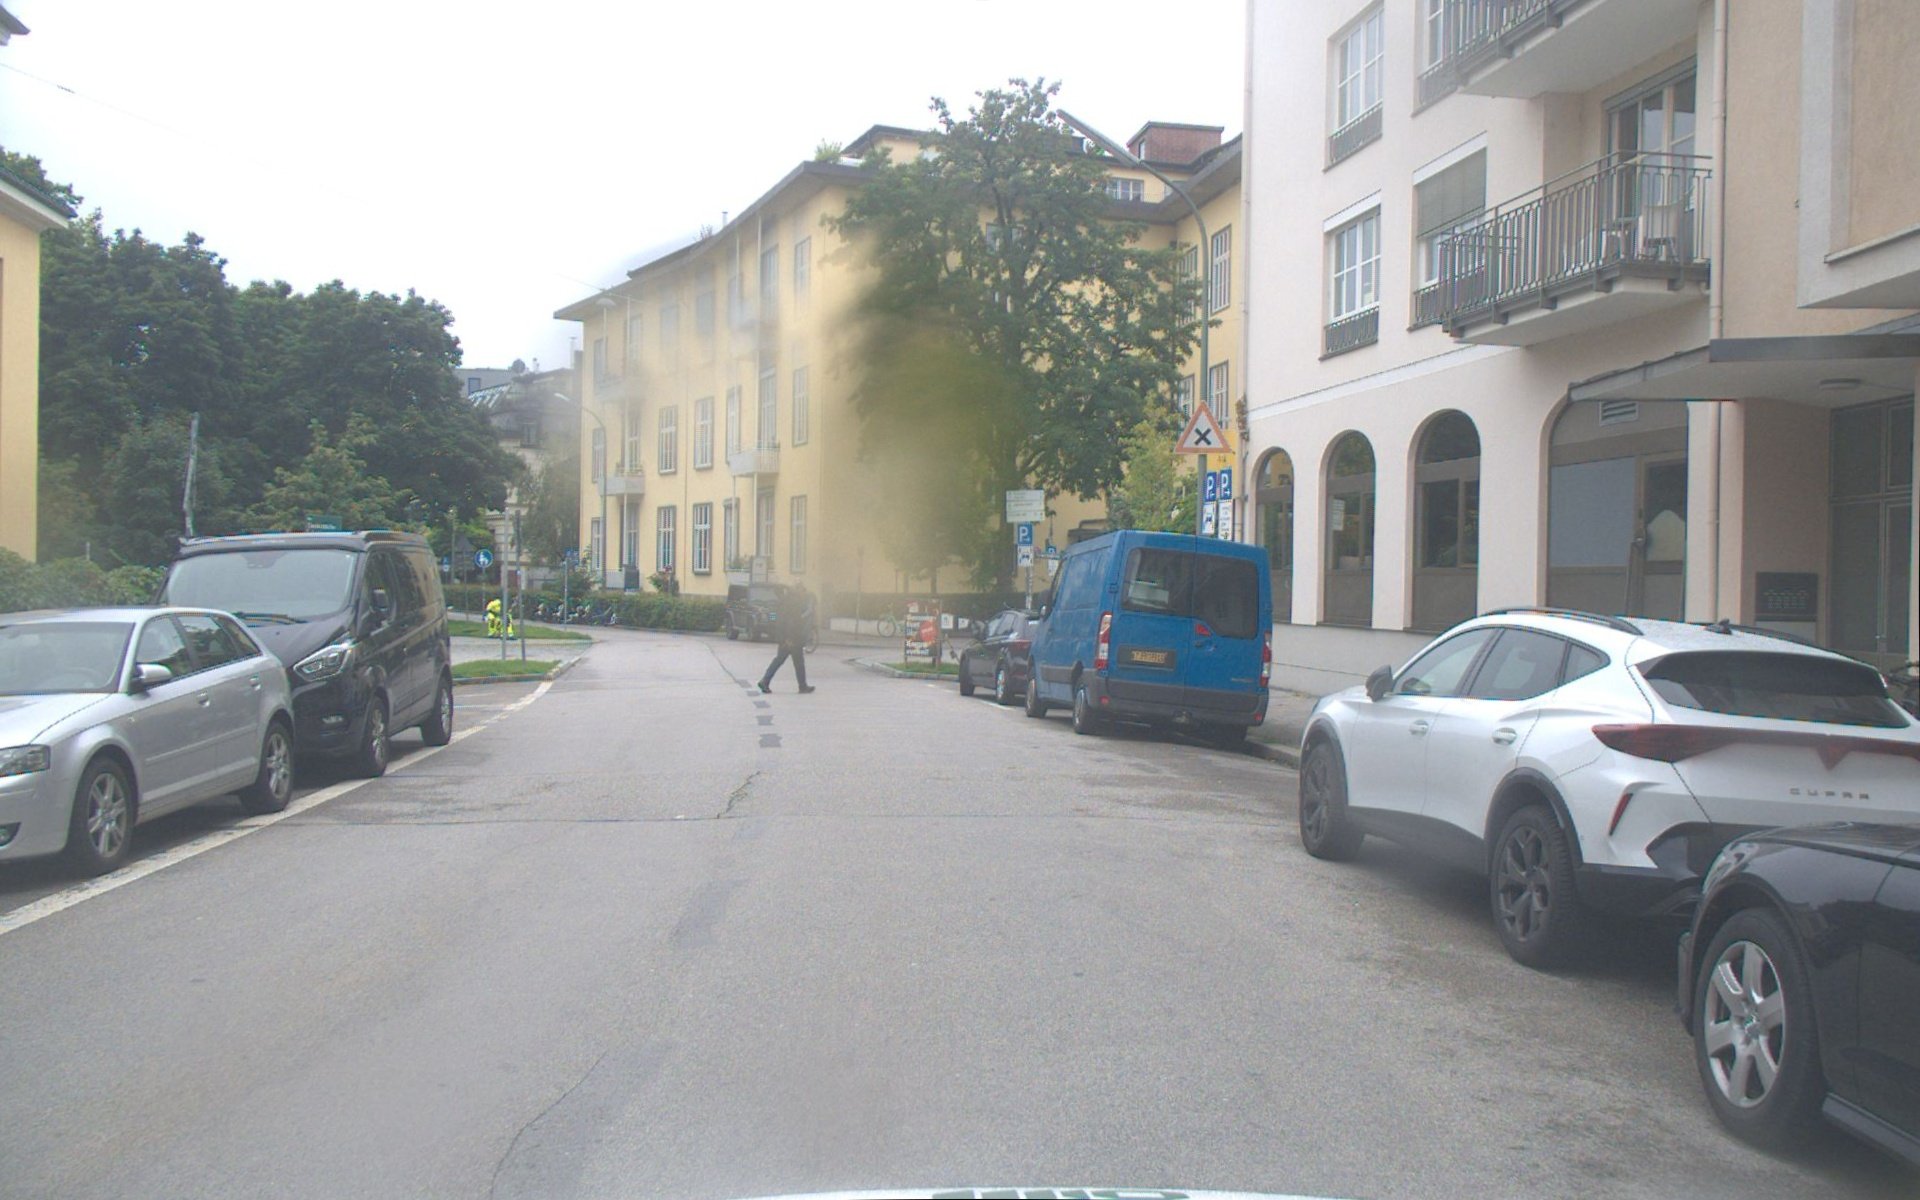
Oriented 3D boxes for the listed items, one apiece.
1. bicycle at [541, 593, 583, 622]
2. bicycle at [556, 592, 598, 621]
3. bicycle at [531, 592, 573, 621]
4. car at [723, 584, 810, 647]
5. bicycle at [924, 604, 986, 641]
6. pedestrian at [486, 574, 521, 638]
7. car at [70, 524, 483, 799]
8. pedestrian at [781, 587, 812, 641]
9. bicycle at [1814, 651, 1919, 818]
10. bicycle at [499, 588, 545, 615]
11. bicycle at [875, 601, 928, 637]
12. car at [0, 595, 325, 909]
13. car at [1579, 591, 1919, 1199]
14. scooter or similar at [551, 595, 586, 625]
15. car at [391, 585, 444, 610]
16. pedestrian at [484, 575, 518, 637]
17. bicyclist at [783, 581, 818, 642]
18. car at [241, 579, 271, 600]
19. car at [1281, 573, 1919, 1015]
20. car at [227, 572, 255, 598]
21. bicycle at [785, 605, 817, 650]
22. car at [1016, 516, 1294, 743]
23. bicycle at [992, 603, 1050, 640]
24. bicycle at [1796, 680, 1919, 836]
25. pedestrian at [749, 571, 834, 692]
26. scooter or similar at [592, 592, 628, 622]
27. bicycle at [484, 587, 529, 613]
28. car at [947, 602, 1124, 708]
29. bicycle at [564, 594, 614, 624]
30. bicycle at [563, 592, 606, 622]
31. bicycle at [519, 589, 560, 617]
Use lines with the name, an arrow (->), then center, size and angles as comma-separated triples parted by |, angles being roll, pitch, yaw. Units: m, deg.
bicycle -> -18.585, 0.329, 77.366 | 0.717, 1.328, 2.154 | 1, 0, 25
bicycle -> -17.732, 0.283, 76.555 | 0.717, 1.328, 2.154 | 1, 0, 25
bicycle -> -19.227, 0.287, 77.952 | 0.717, 1.328, 2.154 | 1, 0, 25
car -> -6.675, 0.488, 56.688 | 1.739, 1.907, 4.348 | 5, -1, -23
bicycle -> -0.177, 0.763, 56.633 | 2.023, 1.222, 0.596 | 1, 0, 12
pedestrian -> -14.845, 0.189, 53.835 | 0.913, 2.049, 0.955 | 1, 0, -6
car -> -5.869, 0.447, 15.050 | 2.033, 1.998, 5.342 | -1, 0, -7
pedestrian -> -5.630, 0.477, 56.926 | 0.862, 1.855, 0.793 | 1, 0, -22
bicycle -> 7.004, 0.982, 12.080 | 0.446, 1.130, 1.853 | 1, 0, -4
bicycle -> -22.028, 0.082, 83.261 | 2.124, 1.328, 0.728 | 1, 0, -28
bicycle -> -2.057, 0.659, 57.768 | 1.889, 1.222, 0.593 | 1, 0, 36
car -> -5.356, 0.744, 9.629 | 1.661, 1.417, 4.499 | -4, 1, -2
car -> 3.248, 0.836, 3.384 | 1.842, 1.548, 5.162 | 4, 0, -1
scooter or similar -> -18.202, 0.458, 76.857 | 0.717, 1.328, 1.730 | 1, 0, 22
car -> -31.819, -0.138, 96.970 | 1.977, 1.396, 3.951 | 1, 0, -35
pedestrian -> -15.328, 0.201, 55.233 | 0.913, 2.049, 0.955 | 1, 0, -6
bicyclist -> -4.357, 0.315, 45.156 | 0.847, 1.636, 0.944 | 1, -1, -11
car -> -57.409, -0.845, 134.893 | 1.970, 1.634, 3.965 | 1, 0, -27
car -> 3.230, 0.717, 8.383 | 1.751, 1.560, 4.642 | 4, 0, -7
car -> -62.081, -1.285, 142.715 | 1.970, 2.197, 3.965 | 1, 0, -27
bicycle -> -4.339, 0.740, 45.041 | 0.658, 1.179, 1.998 | 1, 0, -11
car -> 2.201, 0.353, 20.372 | 2.040, 2.272, 5.236 | 5, -1, -7
bicycle -> 2.080, 0.751, 56.669 | 1.885, 1.222, 0.594 | 1, 0, -6
bicycle -> 6.504, 1.080, 11.450 | 0.446, 0.939, 1.734 | 1, 0, -4
pedestrian -> -2.630, 0.500, 25.898 | 0.918, 1.832, 0.951 | -1, -3, 42
scooter or similar -> -15.444, 0.298, 73.042 | 0.716, 1.328, 2.158 | 1, 0, 14
bicycle -> -23.299, 0.006, 84.954 | 2.124, 1.328, 0.728 | 1, 0, -28
car -> 1.109, 0.824, 26.493 | 1.648, 1.413, 4.291 | 5, -1, -13
bicycle -> -16.524, 0.394, 73.770 | 0.721, 1.328, 2.143 | 1, 0, 42
bicycle -> -17.192, 0.306, 75.787 | 0.717, 1.328, 2.154 | 1, 0, 25
bicycle -> -20.205, 0.149, 79.544 | 0.717, 1.328, 2.154 | 1, 0, 25
